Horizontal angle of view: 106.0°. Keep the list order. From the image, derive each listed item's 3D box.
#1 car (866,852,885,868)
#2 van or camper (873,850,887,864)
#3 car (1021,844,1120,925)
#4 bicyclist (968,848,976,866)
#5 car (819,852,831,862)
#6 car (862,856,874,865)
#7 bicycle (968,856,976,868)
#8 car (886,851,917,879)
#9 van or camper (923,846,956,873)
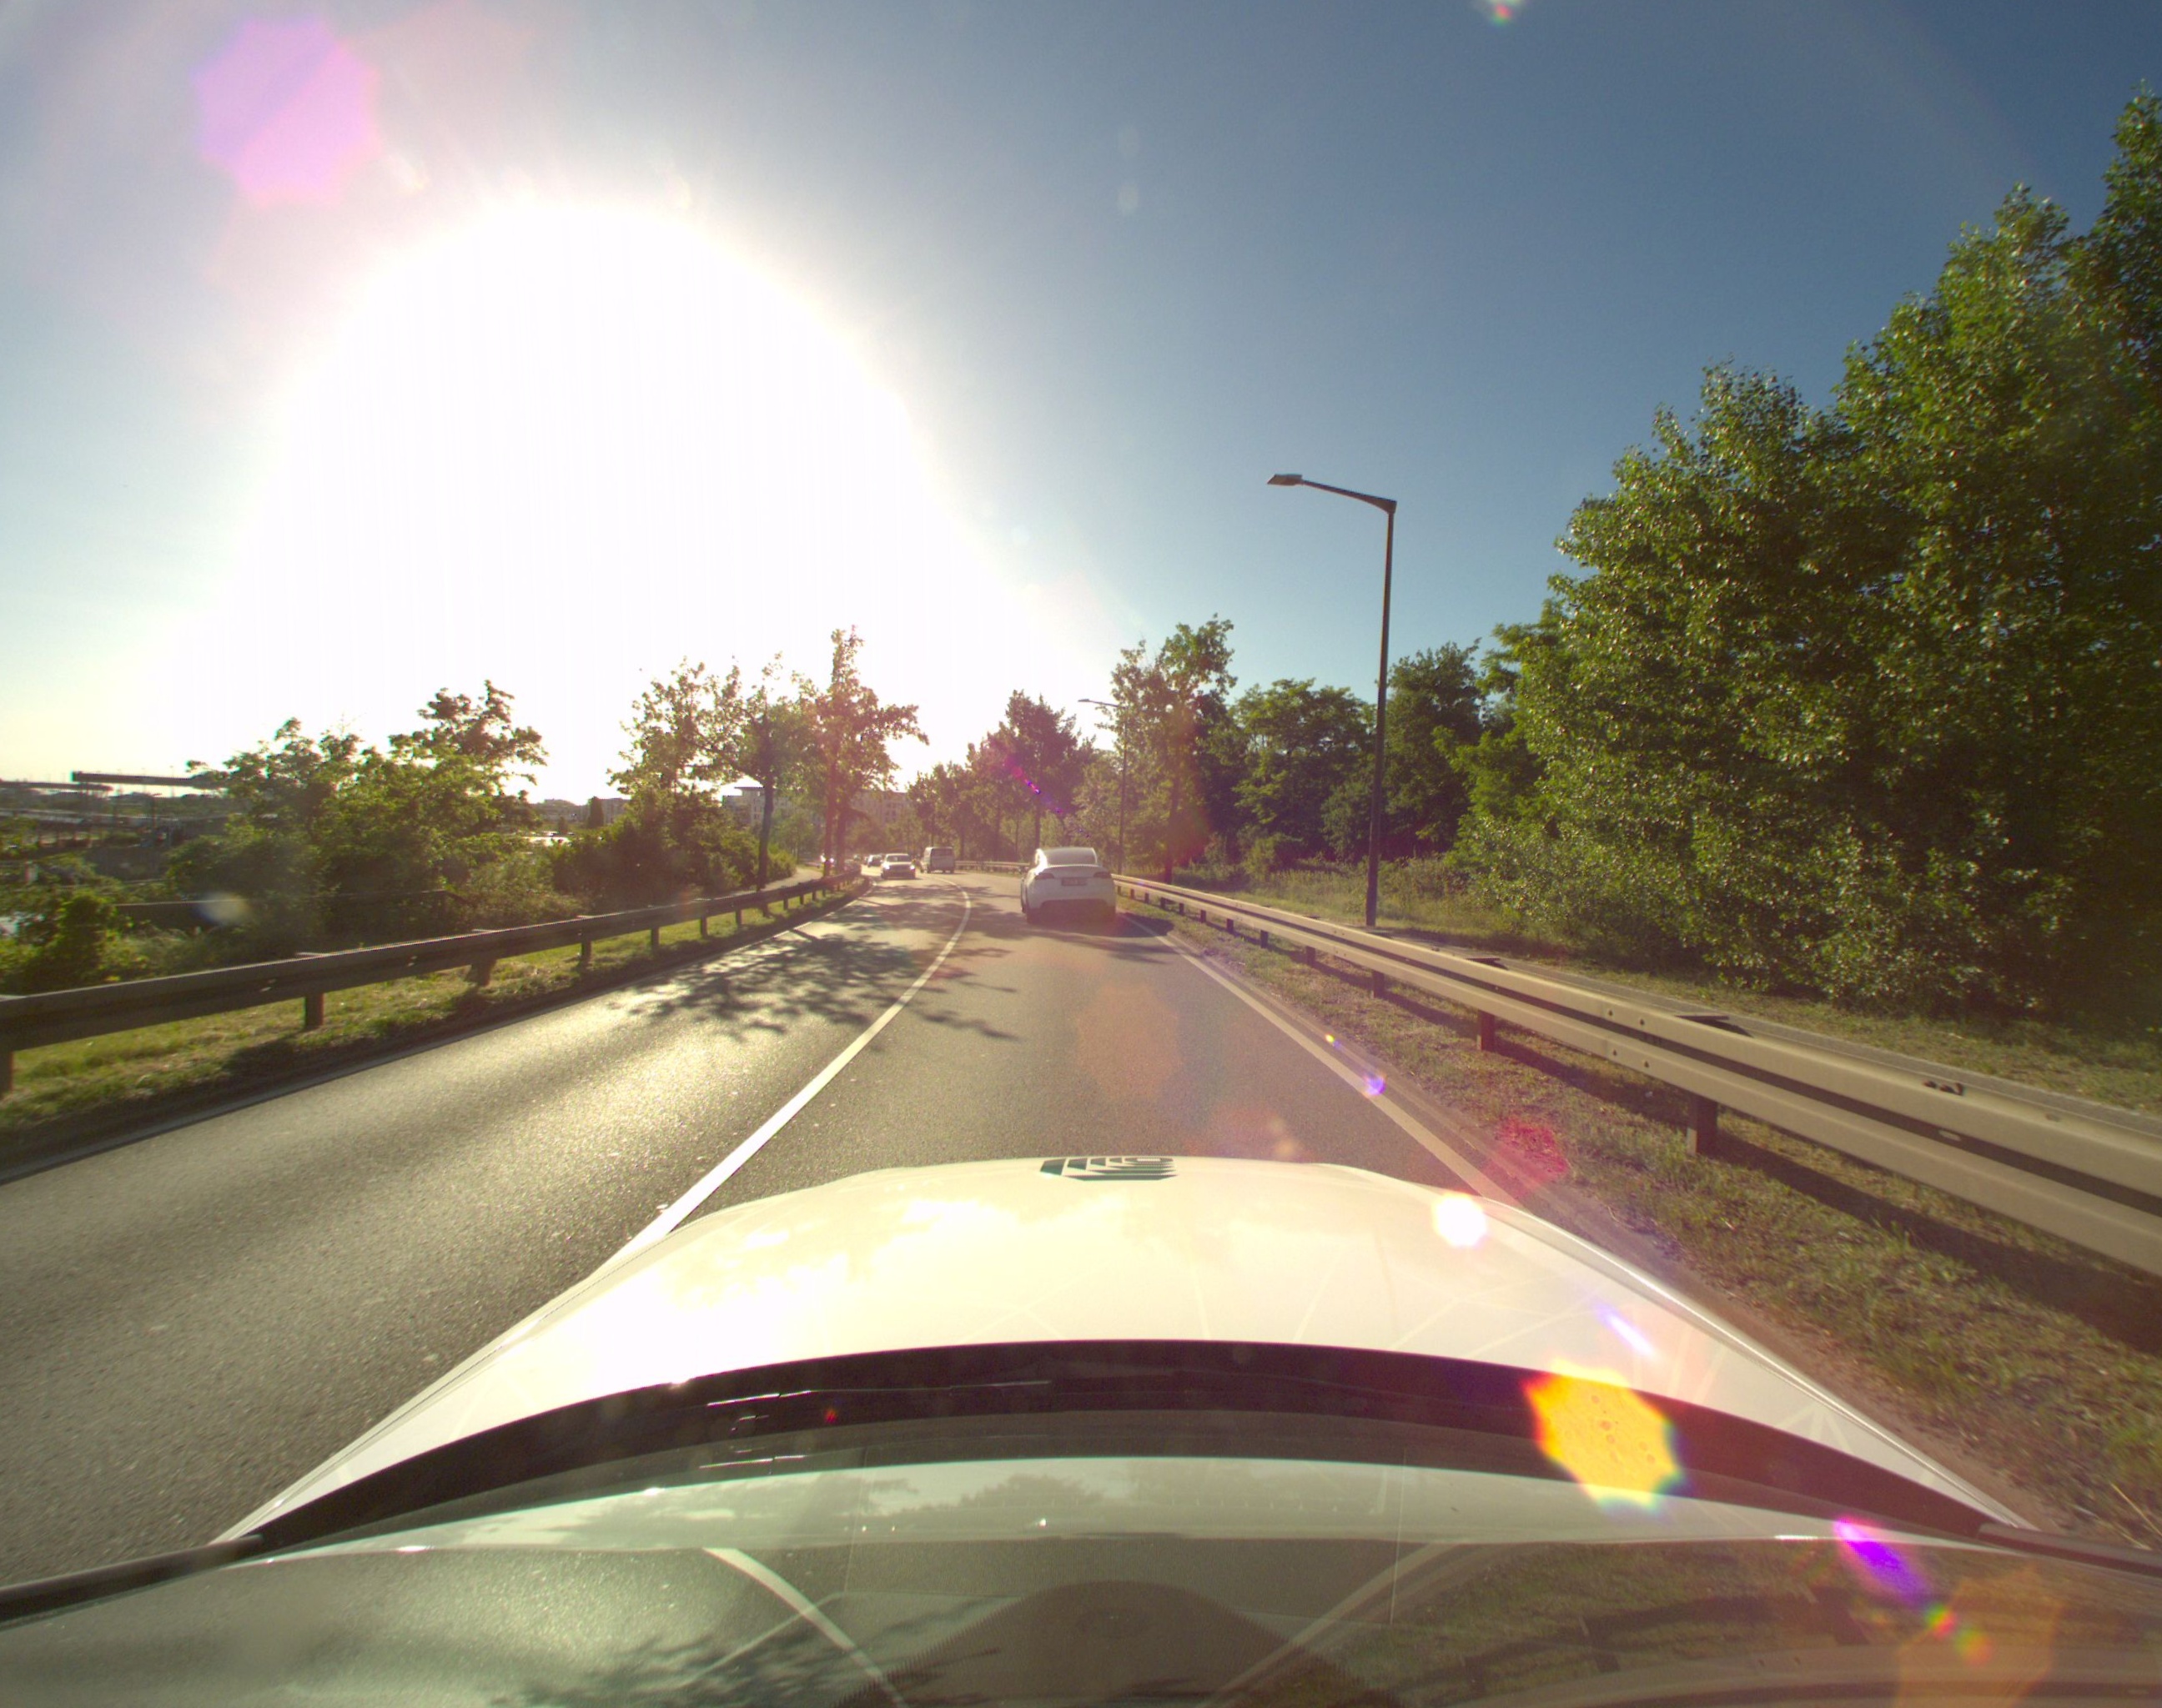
[{"bbox_3d":[-24.478,0.687,97.037,1.914,1.802,4.105,2,0,-17],"label":"car"},{"bbox_3d":[-29.638,0.412,120.025,1.829,1.791,4.522,3,1,-15],"label":"van or camper"},{"bbox_3d":[-0.378,0.617,18.662,1.911,1.641,4.401,0,0,-6],"label":"car"},{"bbox_3d":[-9.808,0.289,73.090,0.707,1.578,1.001,0,-3,-8],"label":"bicyclist"},{"bbox_3d":[-41.413,0.509,131.652,1.814,1.554,4.115,0,0,-18],"label":"car"},{"bbox_3d":[-38.040,1.226,145.350,1.814,1.554,4.115,0,0,-18],"label":"car"},{"bbox_3d":[-9.812,0.708,73.122,0.700,1.074,1.915,0,-2,-8],"label":"bicycle"},{"bbox_3d":[-10.357,0.598,46.866,1.697,1.518,3.963,0,0,-13],"label":"car"},{"bbox_3d":[-10.337,0.400,59.352,1.961,1.884,4.855,0,0,-15],"label":"van or camper"}]
